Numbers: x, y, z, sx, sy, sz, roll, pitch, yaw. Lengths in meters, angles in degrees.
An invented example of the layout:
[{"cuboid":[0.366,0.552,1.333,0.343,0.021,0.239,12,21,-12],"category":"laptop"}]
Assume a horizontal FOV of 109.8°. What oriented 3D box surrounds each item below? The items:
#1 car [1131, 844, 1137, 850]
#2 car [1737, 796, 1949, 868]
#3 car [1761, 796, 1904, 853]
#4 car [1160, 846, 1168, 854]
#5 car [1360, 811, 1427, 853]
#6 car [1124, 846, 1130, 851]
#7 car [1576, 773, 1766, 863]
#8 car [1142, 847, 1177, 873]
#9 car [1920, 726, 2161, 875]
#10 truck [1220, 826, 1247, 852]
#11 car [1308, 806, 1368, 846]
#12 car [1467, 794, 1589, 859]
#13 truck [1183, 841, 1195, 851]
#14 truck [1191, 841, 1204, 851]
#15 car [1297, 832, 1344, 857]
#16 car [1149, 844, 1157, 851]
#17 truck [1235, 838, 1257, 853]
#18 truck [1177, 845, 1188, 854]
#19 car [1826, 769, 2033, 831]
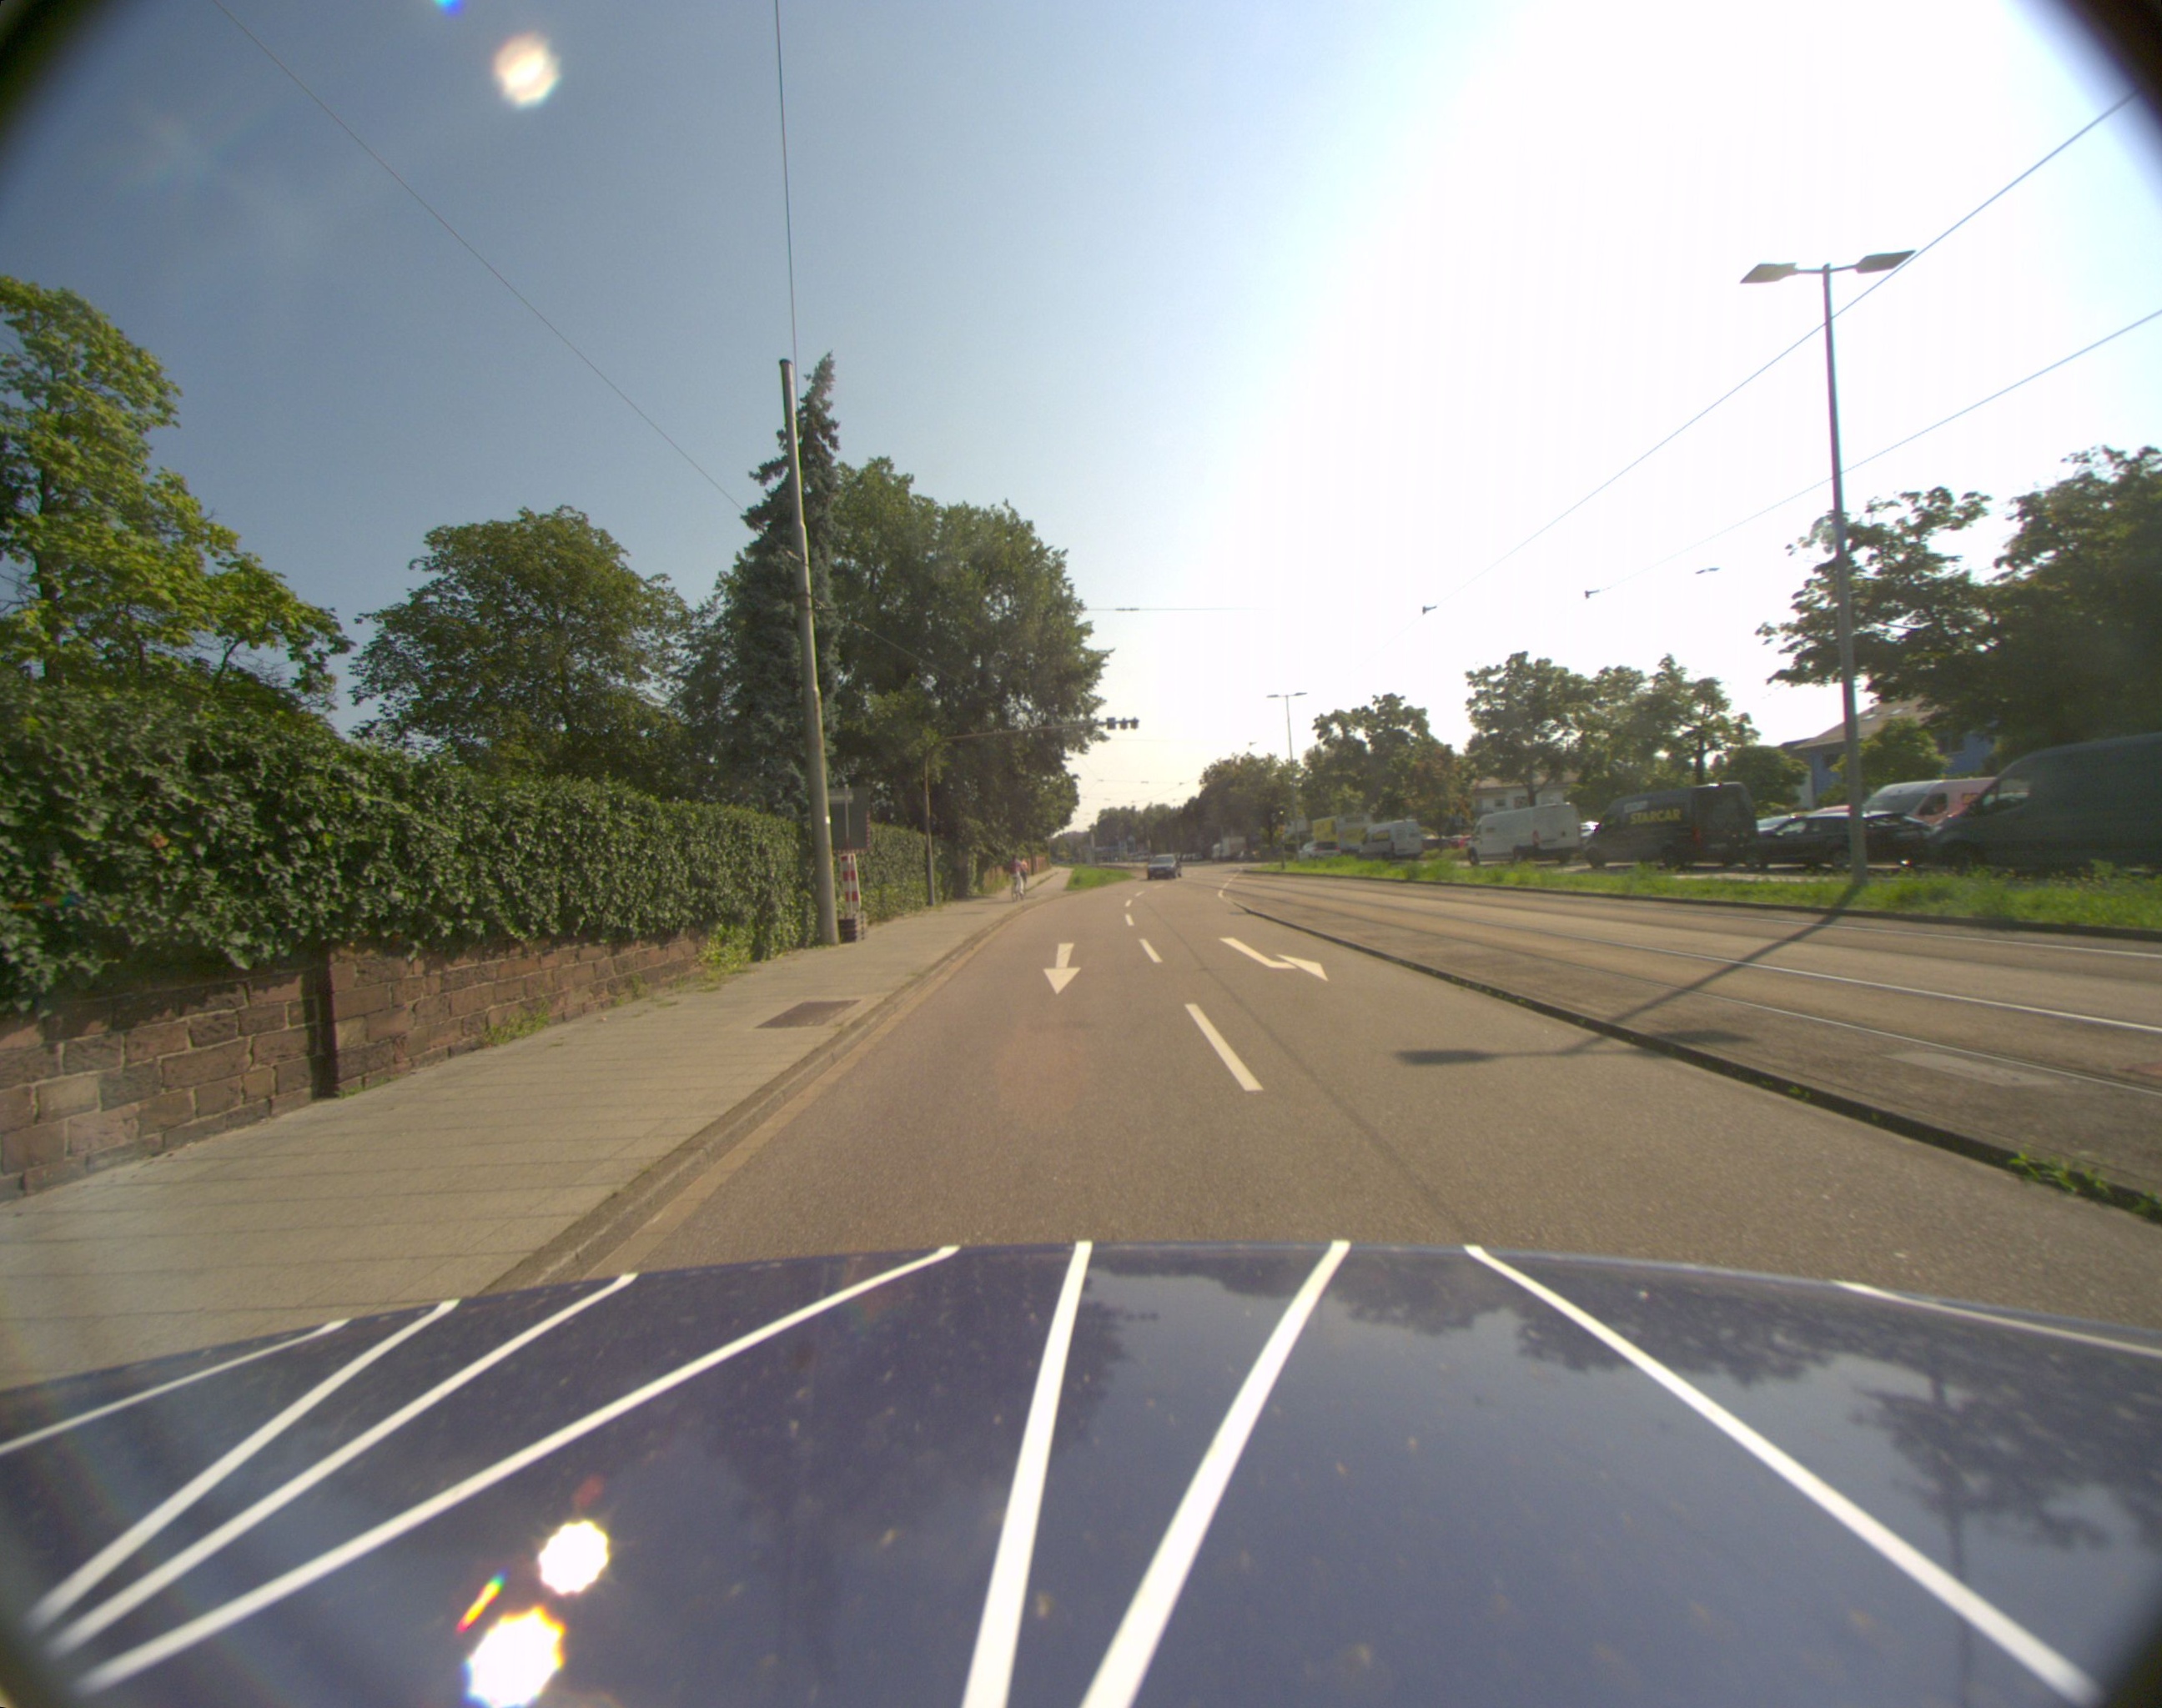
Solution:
[{"cuboid":[14.792,-1.866,211.717,1.550,1.575,3.455,-2,1,-1],"category":"car"},{"cuboid":[19.802,-0.548,20.017,1.749,1.543,3.834,-5,1,3],"category":"car"},{"cuboid":[30.084,-1.161,30.486,3.997,2.087,1.802,-2,1,-2],"category":"car"},{"cuboid":[19.117,-0.951,175.094,1.550,1.758,3.645,-2,1,-1],"category":"car"},{"cuboid":[19.829,-1.350,48.469,2.148,2.444,4.831,-2,1,-1],"category":"car"},{"cuboid":[13.410,-1.567,222.995,1.550,1.575,3.455,-2,1,-1],"category":"car"},{"cuboid":[19.689,-1.092,25.829,1.826,2.571,5.910,-5,0,2],"category":"car"},{"cuboid":[4.754,0.332,46.502,1.776,1.416,3.935,-2,1,1],"category":"car"},{"cuboid":[19.608,-1.001,13.599,1.993,2.571,6.466,-5,1,2],"category":"car"},{"cuboid":[20.256,-1.970,101.301,2.278,3.104,8.787,-2,1,3],"category":"truck"},{"cuboid":[19.511,-2.014,58.033,2.130,2.789,7.230,-2,1,1],"category":"car"},{"cuboid":[19.858,-1.171,34.135,2.138,2.571,5.630,-2,1,1],"category":"car"},{"cuboid":[19.948,-1.477,140.950,1.691,1.665,3.655,-2,1,1],"category":"truck"},{"cuboid":[20.165,-1.429,131.599,1.691,1.665,3.655,-2,1,1],"category":"truck"},{"cuboid":[15.495,-0.616,49.355,1.929,1.511,3.949,-2,1,3],"category":"car"},{"cuboid":[17.596,-1.638,186.522,1.550,1.575,3.455,-2,1,-1],"category":"car"},{"cuboid":[20.012,-1.000,92.293,1.691,1.762,3.969,-2,1,1],"category":"truck"},{"cuboid":[19.886,-0.886,148.447,1.691,1.665,3.655,-2,1,1],"category":"truck"},{"cuboid":[30.316,-1.905,27.258,5.198,1.914,2.052,-2,1,-1],"category":"car"}]
